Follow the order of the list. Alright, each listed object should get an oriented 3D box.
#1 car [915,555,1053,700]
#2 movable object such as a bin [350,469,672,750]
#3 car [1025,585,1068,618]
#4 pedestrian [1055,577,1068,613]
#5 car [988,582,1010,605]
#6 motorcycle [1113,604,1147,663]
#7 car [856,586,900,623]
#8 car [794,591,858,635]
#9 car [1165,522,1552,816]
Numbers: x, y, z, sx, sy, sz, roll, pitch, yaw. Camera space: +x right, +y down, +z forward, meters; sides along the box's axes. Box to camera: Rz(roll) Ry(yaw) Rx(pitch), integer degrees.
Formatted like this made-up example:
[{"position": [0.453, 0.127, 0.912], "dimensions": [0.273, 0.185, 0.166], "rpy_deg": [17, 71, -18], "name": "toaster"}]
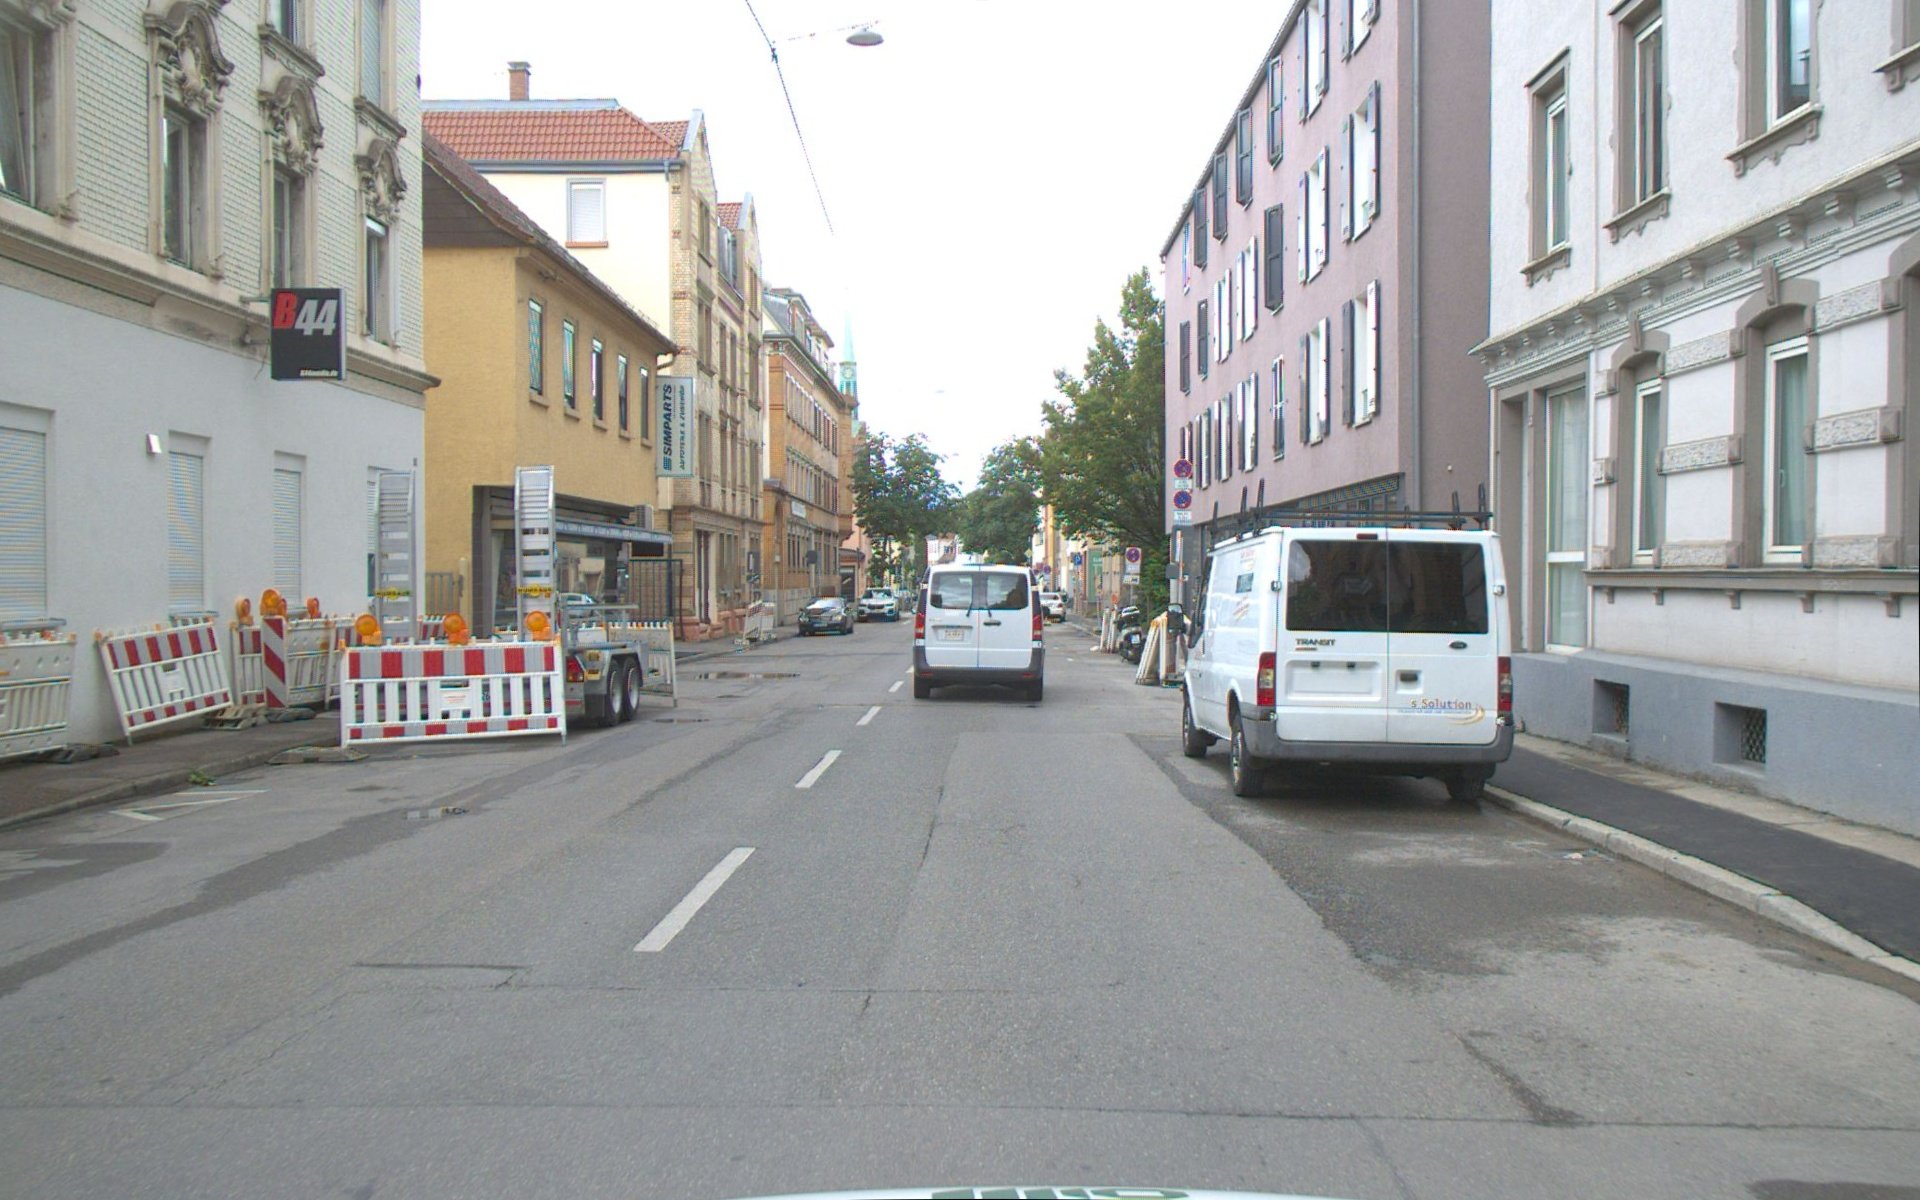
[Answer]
[{"position": [0.293, 0.364, 24.702], "dimensions": [1.853, 1.962, 4.644], "rpy_deg": [0, 0, -1], "name": "car"}, {"position": [-5.111, 0.082, 19.640], "dimensions": [2.485, 2.874, 4.539], "rpy_deg": [-2, 0, 0], "name": "movable object such as a bin"}, {"position": [4.413, 0.055, 84.828], "dimensions": [1.953, 1.511, 4.000], "rpy_deg": [3, 0, 0], "name": "car"}, {"position": [5.995, -0.297, 97.474], "dimensions": [0.610, 2.048, 0.907], "rpy_deg": [3, 0, 2], "name": "pedestrian"}, {"position": [3.671, -0.583, 156.199], "dimensions": [1.952, 2.049, 4.001], "rpy_deg": [-1, -1, 2], "name": "car"}, {"position": [3.771, 0.720, 36.820], "dimensions": [0.630, 1.268, 2.269], "rpy_deg": [0, 0, 3], "name": "motorcycle"}, {"position": [-4.174, 0.205, 84.829], "dimensions": [1.953, 1.771, 4.000], "rpy_deg": [3, 0, 0], "name": "car"}, {"position": [-4.853, 0.453, 60.404], "dimensions": [1.953, 1.467, 4.000], "rpy_deg": [-1, 0, 0], "name": "car"}, {"position": [3.136, 0.475, 14.201], "dimensions": [2.085, 2.040, 4.926], "rpy_deg": [1, 0, 0], "name": "car"}]
